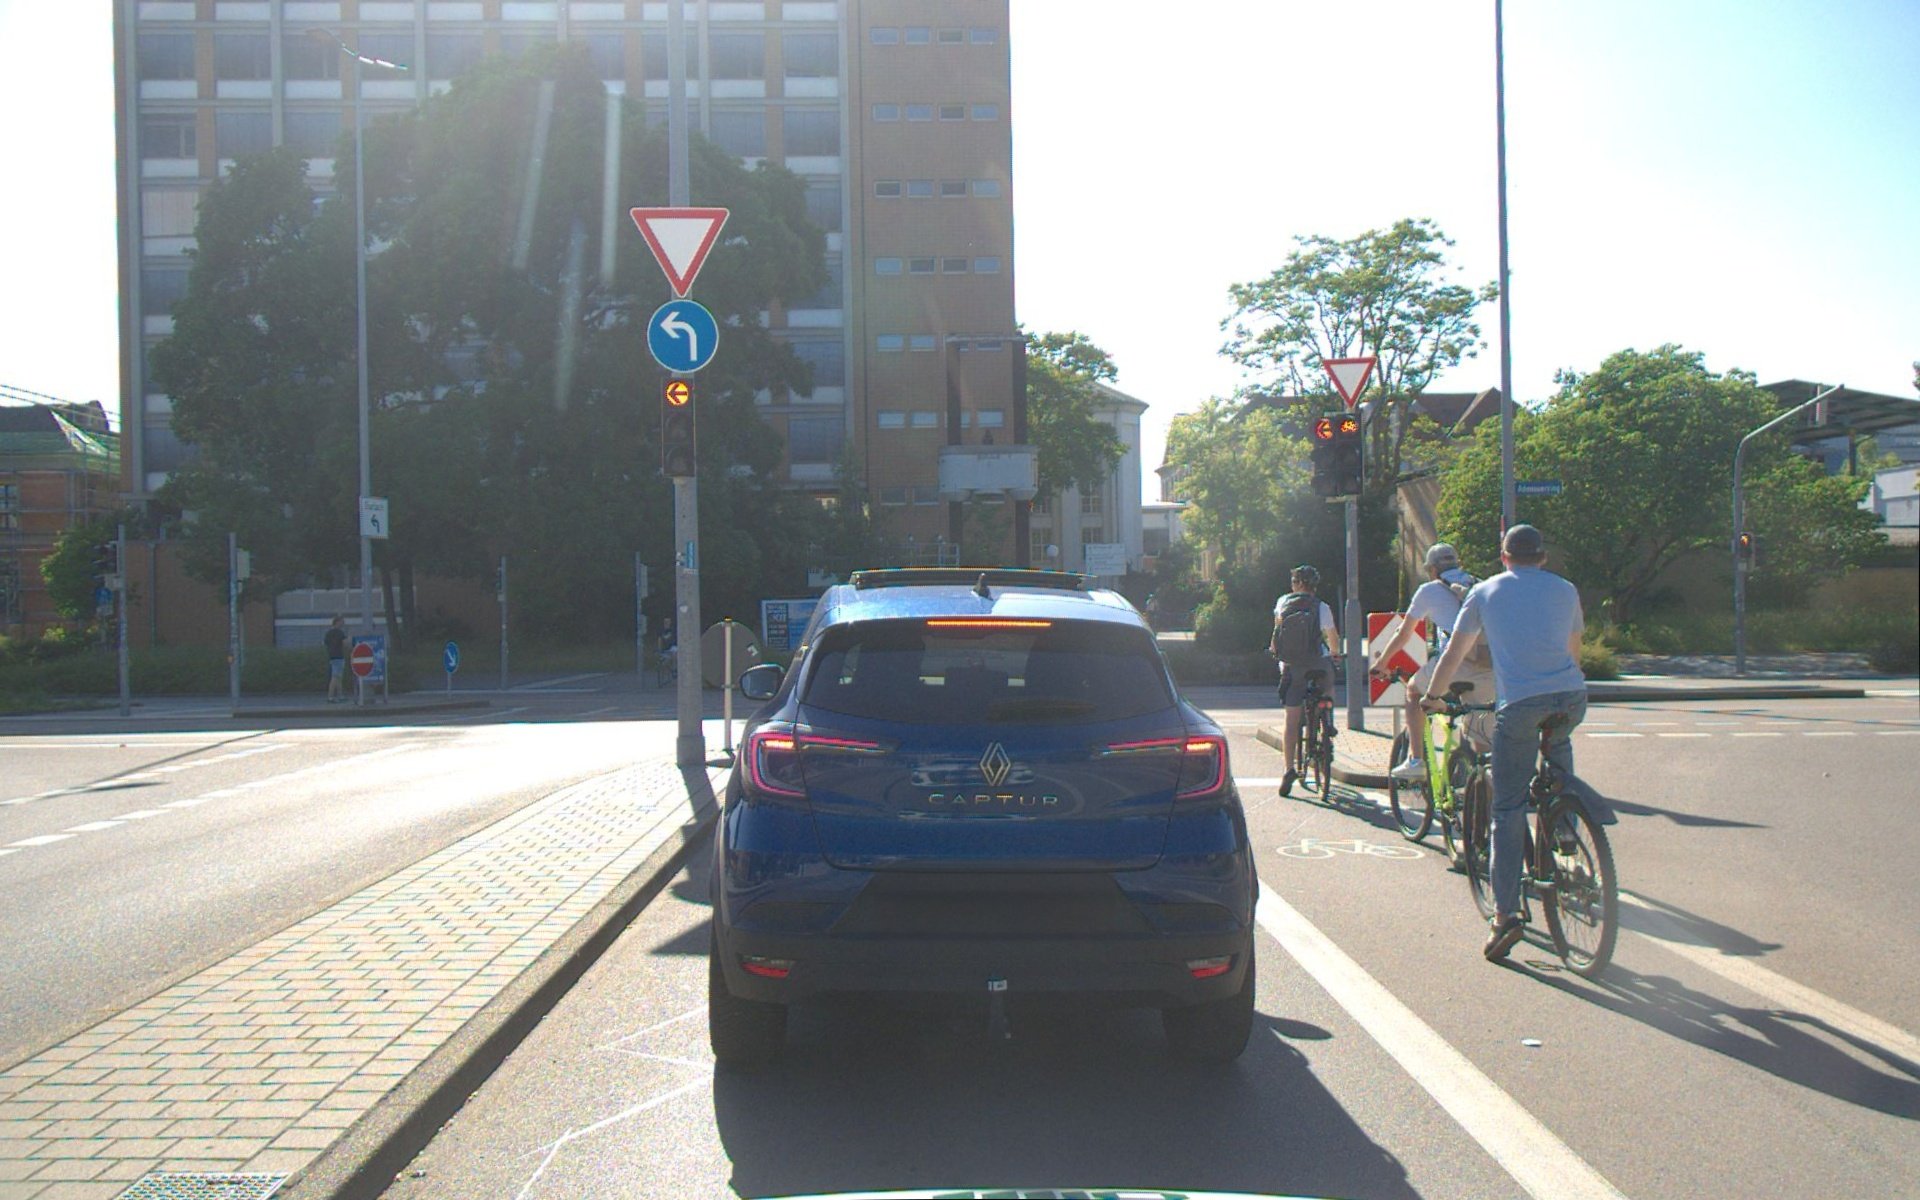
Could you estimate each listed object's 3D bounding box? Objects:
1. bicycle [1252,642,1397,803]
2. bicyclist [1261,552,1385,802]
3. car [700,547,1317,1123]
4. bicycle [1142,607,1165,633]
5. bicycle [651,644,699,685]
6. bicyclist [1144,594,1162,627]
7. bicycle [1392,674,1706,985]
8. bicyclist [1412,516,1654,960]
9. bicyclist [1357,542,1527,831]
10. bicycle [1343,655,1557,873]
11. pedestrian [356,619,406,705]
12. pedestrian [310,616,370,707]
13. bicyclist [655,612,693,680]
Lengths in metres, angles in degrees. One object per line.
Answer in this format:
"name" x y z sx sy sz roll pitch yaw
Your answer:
"bicycle" 2.789 0.906 12.849 0.675 1.108 1.922 0 0 -1
"bicyclist" 2.748 0.561 12.618 0.685 1.822 1.142 0 0 -1
"car" 0.057 0.663 6.641 1.753 1.613 3.912 0 0 -3
"bicycle" 8.832 0.889 75.526 0.680 1.160 2.440 -1 0 -2
"bicycle" -7.528 1.699 43.767 0.739 1.002 2.095 -1 0 5
"bicyclist" 8.827 0.469 75.589 0.680 1.507 0.717 -1 0 -2
"bicycle" 2.508 0.920 7.296 0.675 1.108 1.922 0 0 -1
"bicyclist" 2.511 0.568 7.369 0.669 1.822 1.142 0 0 -1
"bicyclist" 2.844 0.485 9.860 0.664 1.622 1.142 0 0 -1
"bicycle" 2.852 0.910 9.836 0.675 1.108 1.922 0 0 -1
"pedestrian" -12.209 1.301 34.867 0.666 1.761 0.761 -1 0 13
"pedestrian" -13.224 1.298 35.308 0.796 1.895 0.910 -1 0 13
"bicyclist" -7.546 1.208 43.664 0.739 1.746 0.999 -1 0 5
